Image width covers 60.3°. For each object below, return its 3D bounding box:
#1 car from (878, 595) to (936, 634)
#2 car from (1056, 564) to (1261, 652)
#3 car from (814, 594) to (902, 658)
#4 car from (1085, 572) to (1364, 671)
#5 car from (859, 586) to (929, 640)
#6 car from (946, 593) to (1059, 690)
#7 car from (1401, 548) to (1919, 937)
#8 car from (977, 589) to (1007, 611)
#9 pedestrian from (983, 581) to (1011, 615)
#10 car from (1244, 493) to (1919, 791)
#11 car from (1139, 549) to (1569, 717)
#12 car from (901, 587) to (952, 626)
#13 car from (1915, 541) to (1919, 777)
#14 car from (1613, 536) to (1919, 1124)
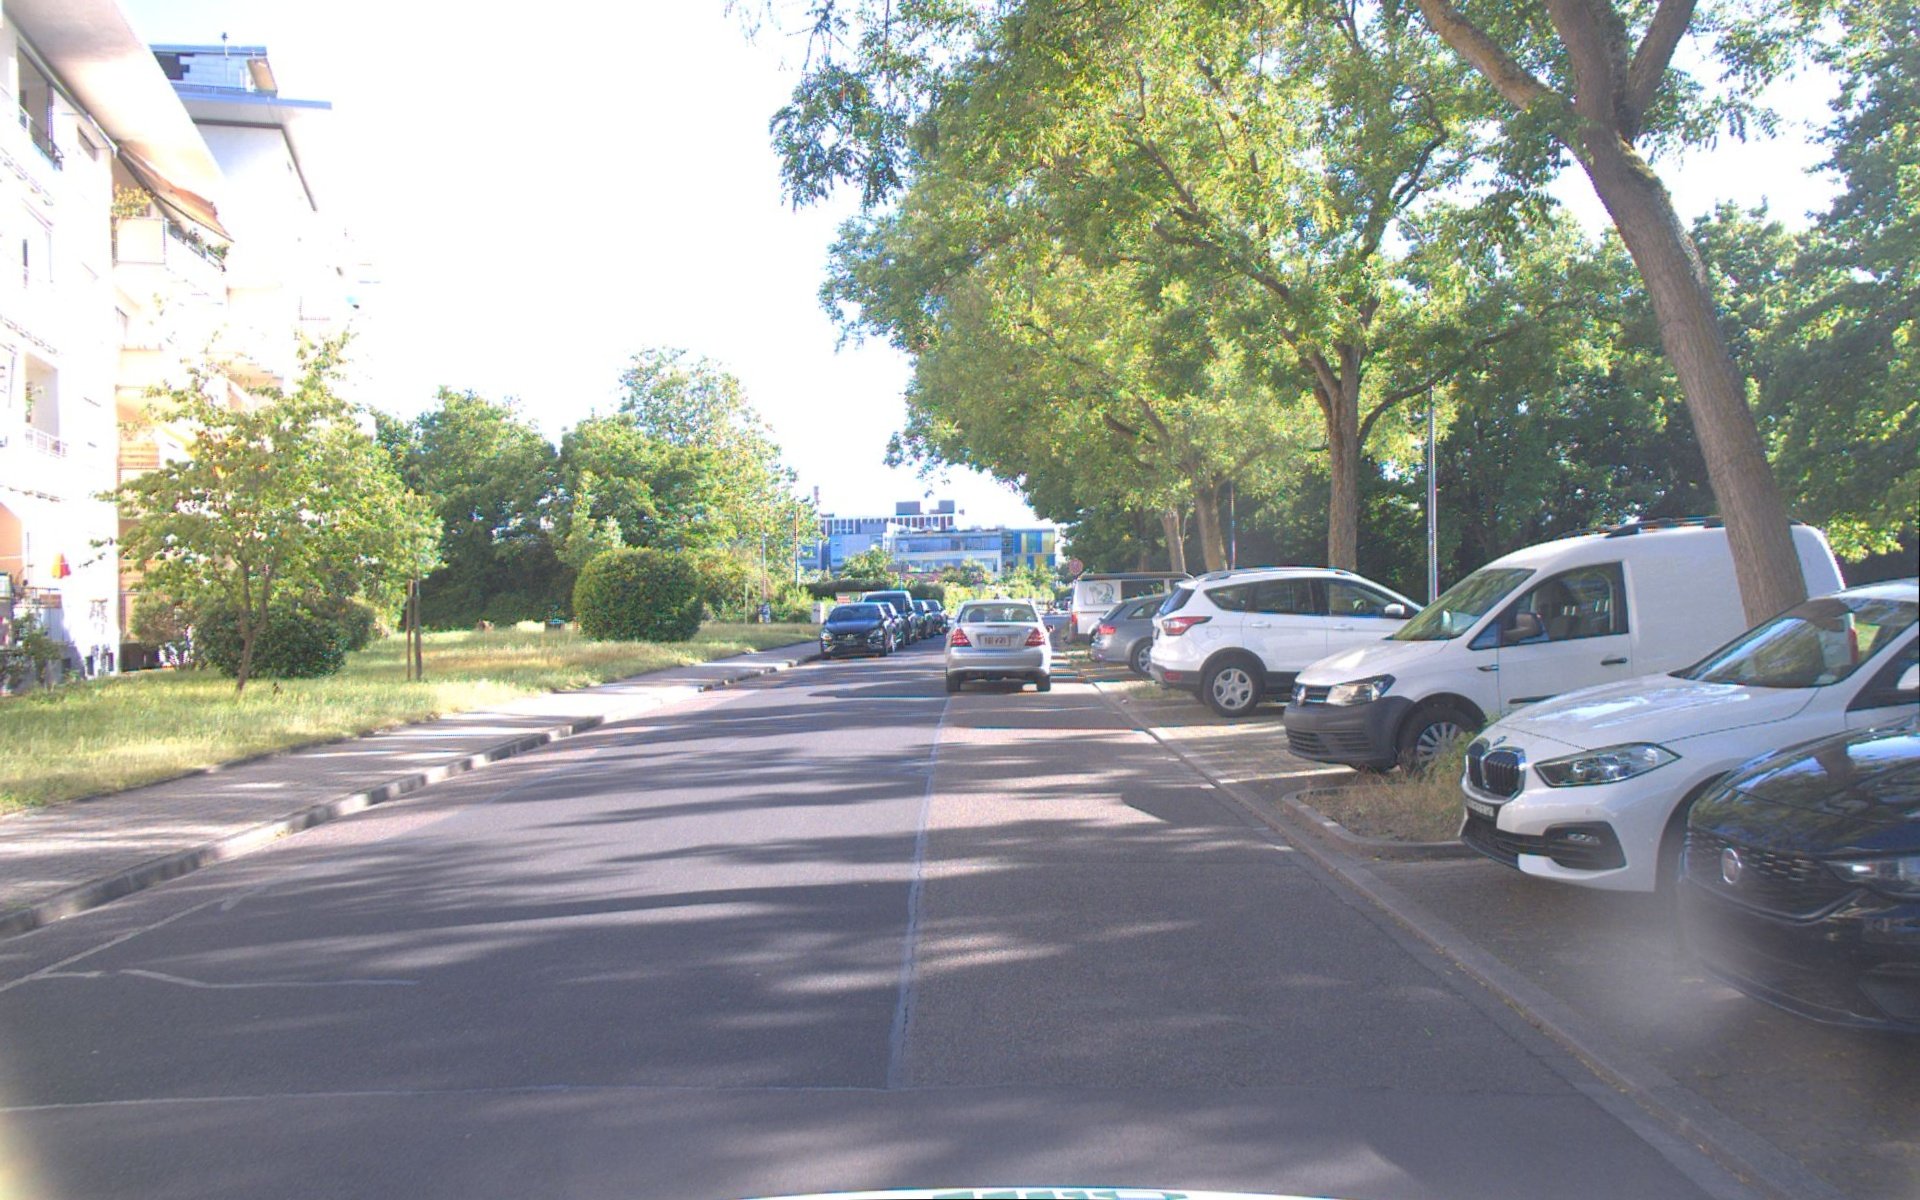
[{"bbox_3d":[-2.034,0.542,63.963,1.713,1.353,3.453,-4,0,6],"label":"car"},{"bbox_3d":[5.088,0.186,43.038,5.109,2.095,2.001,-2,0,2],"label":"car"},{"bbox_3d":[-2.743,0.673,45.326,1.873,1.516,3.839,-4,0,3],"label":"car"},{"bbox_3d":[4.822,0.383,30.652,4.787,1.656,1.999,-1,0,-3],"label":"car"},{"bbox_3d":[-2.248,0.408,57.391,1.713,1.718,4.267,-3,0,6],"label":"car"},{"bbox_3d":[0.673,0.648,26.788,1.697,1.459,3.438,0,-1,1],"label":"car"},{"bbox_3d":[4.651,0.534,8.125,4.355,1.543,1.999,-3,1,-2],"label":"car"},{"bbox_3d":[2.348,-0.021,120.583,1.853,1.529,3.659,-1,0,6],"label":"car"},{"bbox_3d":[2.411,-0.139,106.443,1.540,2.125,1.725,-1,0,9],"label":"pedestrian"},{"bbox_3d":[4.862,0.269,12.965,4.791,1.957,1.997,-2,1,-7],"label":"car"},{"bbox_3d":[4.731,0.380,20.411,4.784,1.753,2.000,-3,0,1],"label":"car"},{"bbox_3d":[-1.400,0.247,70.519,1.713,1.547,4.195,-3,0,4],"label":"car"},{"bbox_3d":[4.571,0.598,2.873,4.686,1.576,2.011,-2,0,-2],"label":"car"},{"bbox_3d":[4.636,0.559,5.354,4.336,1.599,1.738,-2,0,1],"label":"car"}]
